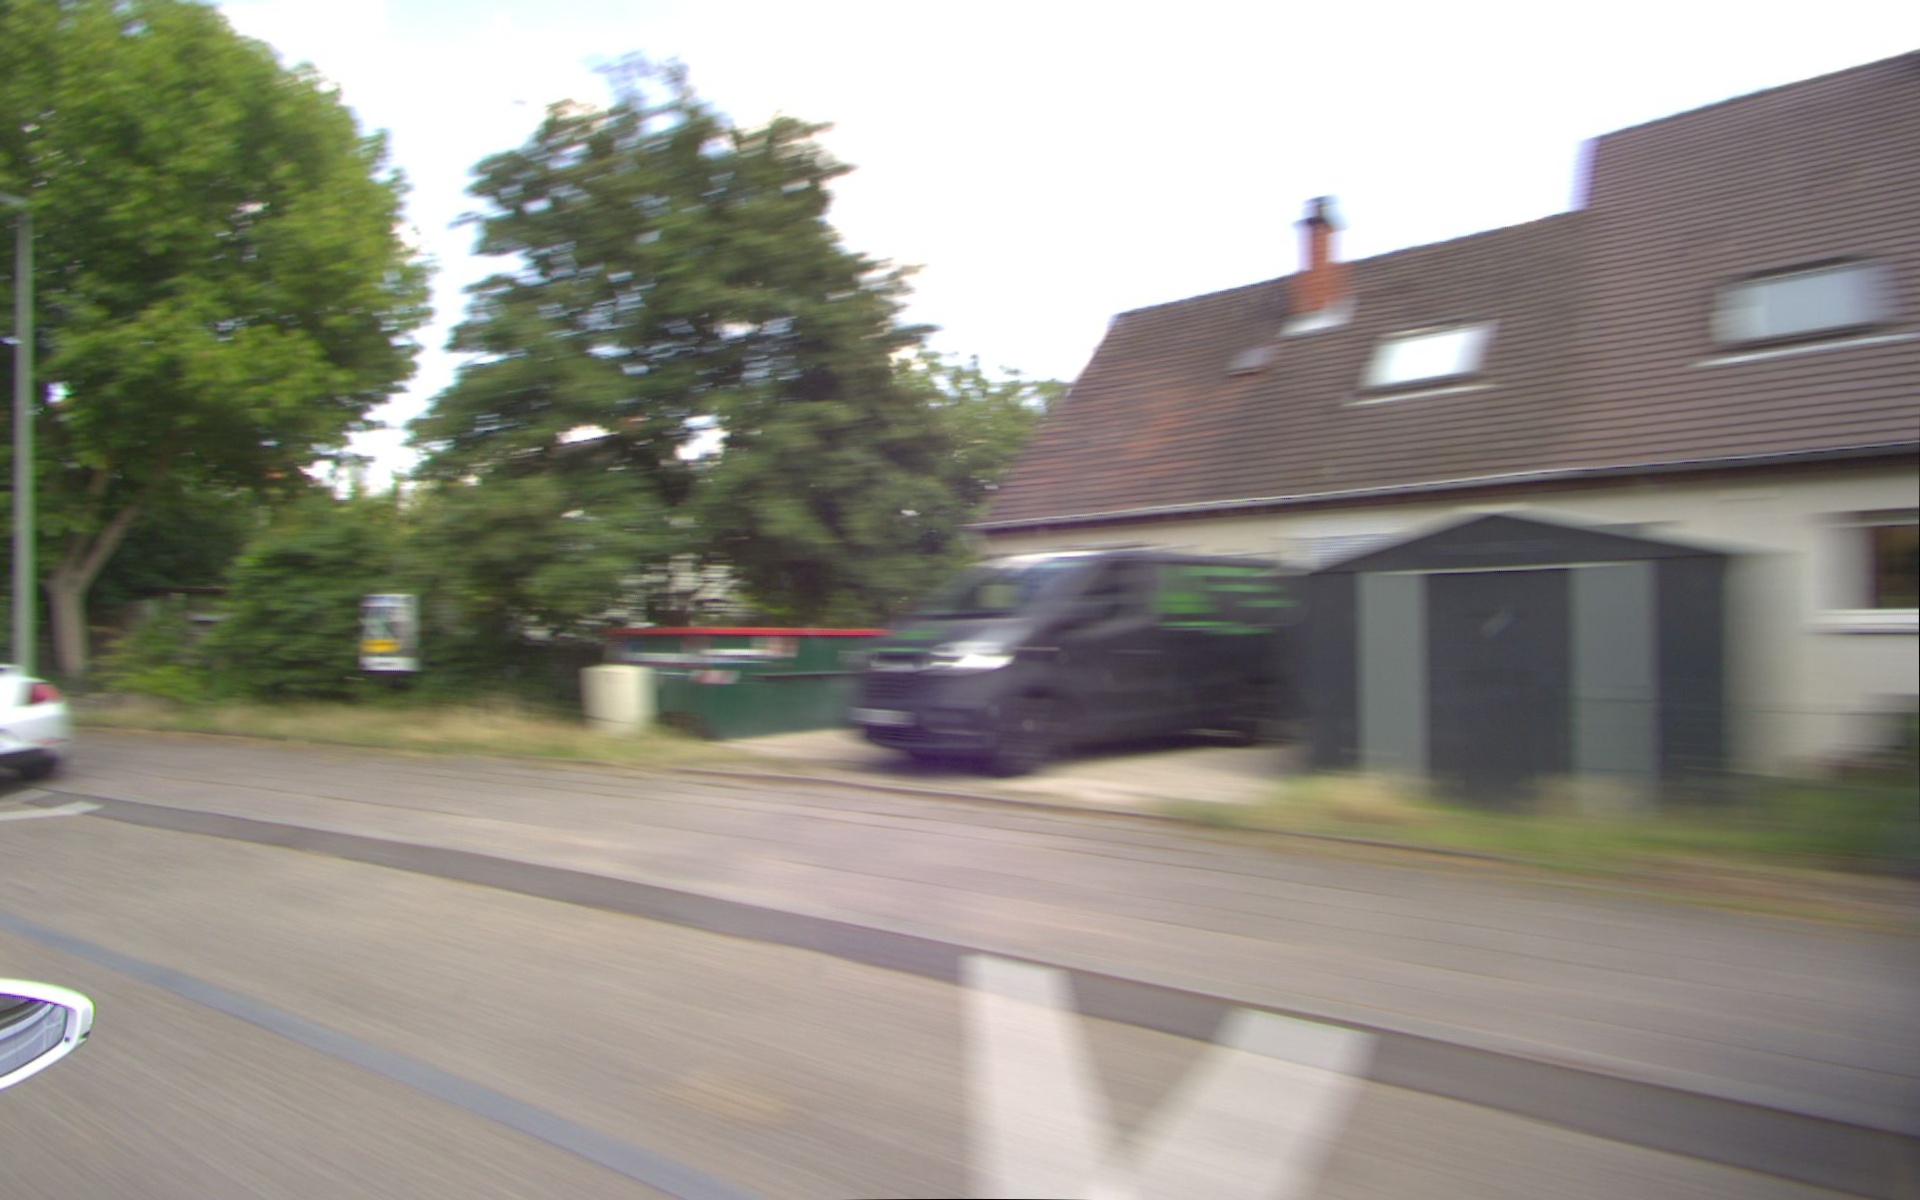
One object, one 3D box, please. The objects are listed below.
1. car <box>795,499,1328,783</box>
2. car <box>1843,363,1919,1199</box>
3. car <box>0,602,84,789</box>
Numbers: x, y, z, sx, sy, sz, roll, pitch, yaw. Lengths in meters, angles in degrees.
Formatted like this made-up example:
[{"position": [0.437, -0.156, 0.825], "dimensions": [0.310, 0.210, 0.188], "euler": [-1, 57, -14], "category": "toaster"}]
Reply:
[{"position": [1.224, 0.419, 9.778], "dimensions": [5.296, 2.083, 1.985], "euler": [2, -3, -38], "category": "car"}, {"position": [4.112, 0.432, 0.871], "dimensions": [4.810, 1.970, 1.837], "euler": [-1, 0, 35], "category": "car"}, {"position": [-9.939, 0.795, 8.992], "dimensions": [4.390, 1.531, 1.739], "euler": [-1, -2, 29], "category": "car"}]
